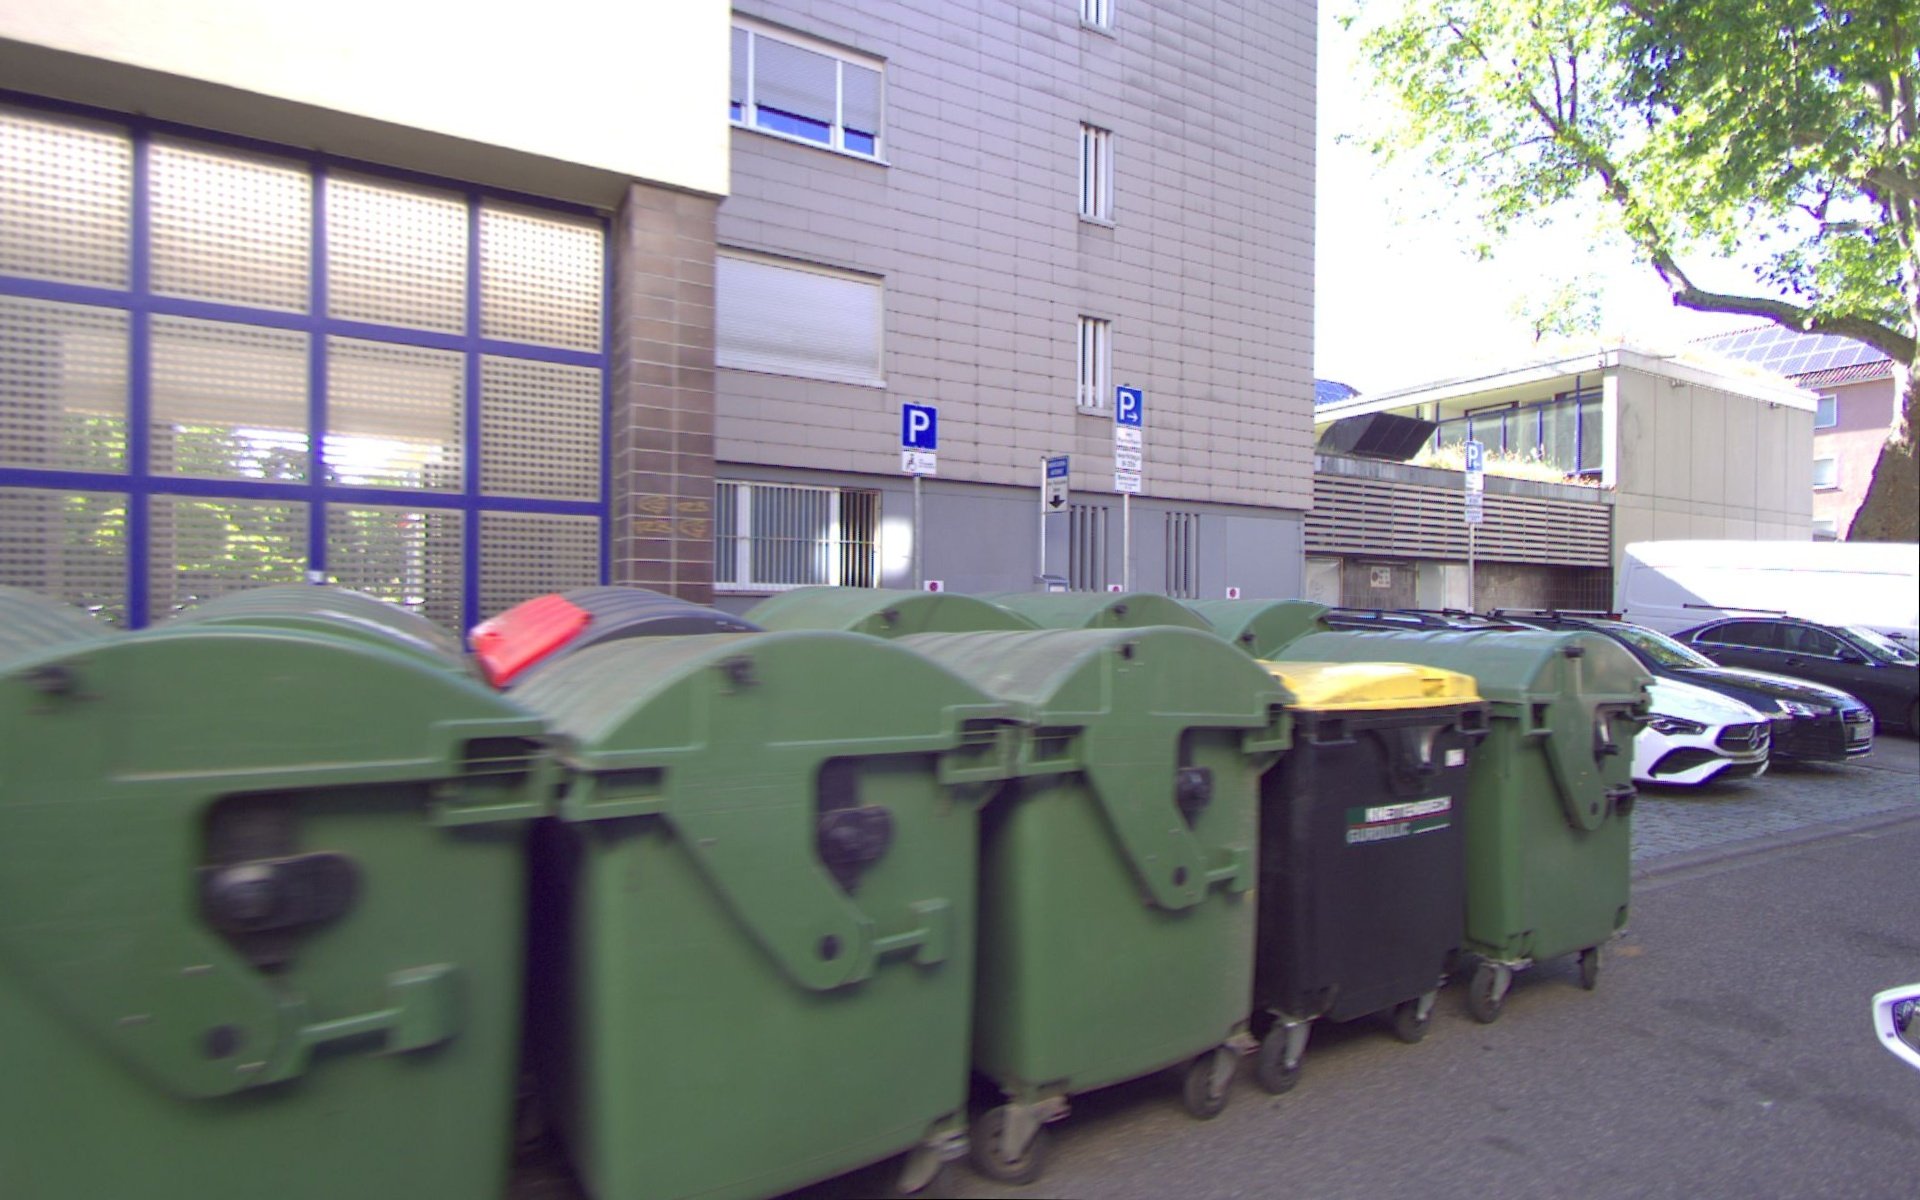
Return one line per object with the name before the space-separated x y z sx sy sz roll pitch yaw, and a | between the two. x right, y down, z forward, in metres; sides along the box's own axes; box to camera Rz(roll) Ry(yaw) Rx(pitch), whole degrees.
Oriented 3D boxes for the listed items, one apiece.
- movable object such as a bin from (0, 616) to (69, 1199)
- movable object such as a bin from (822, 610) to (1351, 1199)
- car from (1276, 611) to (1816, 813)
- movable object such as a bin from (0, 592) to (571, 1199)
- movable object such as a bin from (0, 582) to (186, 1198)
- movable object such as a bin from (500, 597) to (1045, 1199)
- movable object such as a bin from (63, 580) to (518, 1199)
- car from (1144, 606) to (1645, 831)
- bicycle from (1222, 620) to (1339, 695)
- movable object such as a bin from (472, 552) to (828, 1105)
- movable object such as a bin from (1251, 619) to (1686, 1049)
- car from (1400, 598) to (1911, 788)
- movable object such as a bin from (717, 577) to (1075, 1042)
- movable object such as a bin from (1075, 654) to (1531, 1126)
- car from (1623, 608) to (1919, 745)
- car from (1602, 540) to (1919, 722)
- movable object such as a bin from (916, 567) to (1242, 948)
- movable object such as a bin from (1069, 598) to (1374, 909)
movable object such as a bin | -2.362 0.764 1.617 1.080 1.503 1.328 2 -2 -30
movable object such as a bin | 0.321 0.806 3.193 1.069 1.510 1.328 2 -1 -30
car | 5.568 0.915 10.174 1.935 1.444 4.320 2 0 -30
movable object such as a bin | -1.474 0.751 2.144 0.991 1.506 1.342 2 -1 -30
movable object such as a bin | -3.039 0.703 2.831 1.143 1.519 1.299 2 -1 -30
movable object such as a bin | -0.581 0.767 2.644 1.006 1.519 1.337 2 -1 -30
movable object such as a bin | -2.097 0.733 3.325 1.006 1.543 1.296 2 -1 -30
car | 3.648 0.857 9.126 1.806 1.525 3.856 2 -1 -30
bicycle | 5.206 0.901 16.258 2.014 1.139 0.606 1 1 -30
movable object such as a bin | -1.228 0.690 3.801 1.006 1.642 1.288 2 -1 -30
movable object such as a bin | 2.152 0.840 4.352 1.105 1.470 1.293 2 -1 -33
car | 7.653 0.875 11.569 1.895 1.631 4.441 2 1 -31
movable object such as a bin | -0.329 0.746 4.347 1.069 1.626 1.283 2 -1 -30
movable object such as a bin | 1.228 0.902 3.778 1.033 1.339 1.235 2 -1 -30
car | 12.016 0.984 13.777 1.905 1.490 4.481 1 2 -28
car | 14.144 0.423 15.664 2.118 2.589 6.712 2 2 -27
movable object such as a bin | 0.598 0.706 5.264 1.162 1.675 1.219 2 -1 -35
movable object such as a bin | 1.519 0.790 5.963 1.110 1.570 1.343 2 -1 -35
